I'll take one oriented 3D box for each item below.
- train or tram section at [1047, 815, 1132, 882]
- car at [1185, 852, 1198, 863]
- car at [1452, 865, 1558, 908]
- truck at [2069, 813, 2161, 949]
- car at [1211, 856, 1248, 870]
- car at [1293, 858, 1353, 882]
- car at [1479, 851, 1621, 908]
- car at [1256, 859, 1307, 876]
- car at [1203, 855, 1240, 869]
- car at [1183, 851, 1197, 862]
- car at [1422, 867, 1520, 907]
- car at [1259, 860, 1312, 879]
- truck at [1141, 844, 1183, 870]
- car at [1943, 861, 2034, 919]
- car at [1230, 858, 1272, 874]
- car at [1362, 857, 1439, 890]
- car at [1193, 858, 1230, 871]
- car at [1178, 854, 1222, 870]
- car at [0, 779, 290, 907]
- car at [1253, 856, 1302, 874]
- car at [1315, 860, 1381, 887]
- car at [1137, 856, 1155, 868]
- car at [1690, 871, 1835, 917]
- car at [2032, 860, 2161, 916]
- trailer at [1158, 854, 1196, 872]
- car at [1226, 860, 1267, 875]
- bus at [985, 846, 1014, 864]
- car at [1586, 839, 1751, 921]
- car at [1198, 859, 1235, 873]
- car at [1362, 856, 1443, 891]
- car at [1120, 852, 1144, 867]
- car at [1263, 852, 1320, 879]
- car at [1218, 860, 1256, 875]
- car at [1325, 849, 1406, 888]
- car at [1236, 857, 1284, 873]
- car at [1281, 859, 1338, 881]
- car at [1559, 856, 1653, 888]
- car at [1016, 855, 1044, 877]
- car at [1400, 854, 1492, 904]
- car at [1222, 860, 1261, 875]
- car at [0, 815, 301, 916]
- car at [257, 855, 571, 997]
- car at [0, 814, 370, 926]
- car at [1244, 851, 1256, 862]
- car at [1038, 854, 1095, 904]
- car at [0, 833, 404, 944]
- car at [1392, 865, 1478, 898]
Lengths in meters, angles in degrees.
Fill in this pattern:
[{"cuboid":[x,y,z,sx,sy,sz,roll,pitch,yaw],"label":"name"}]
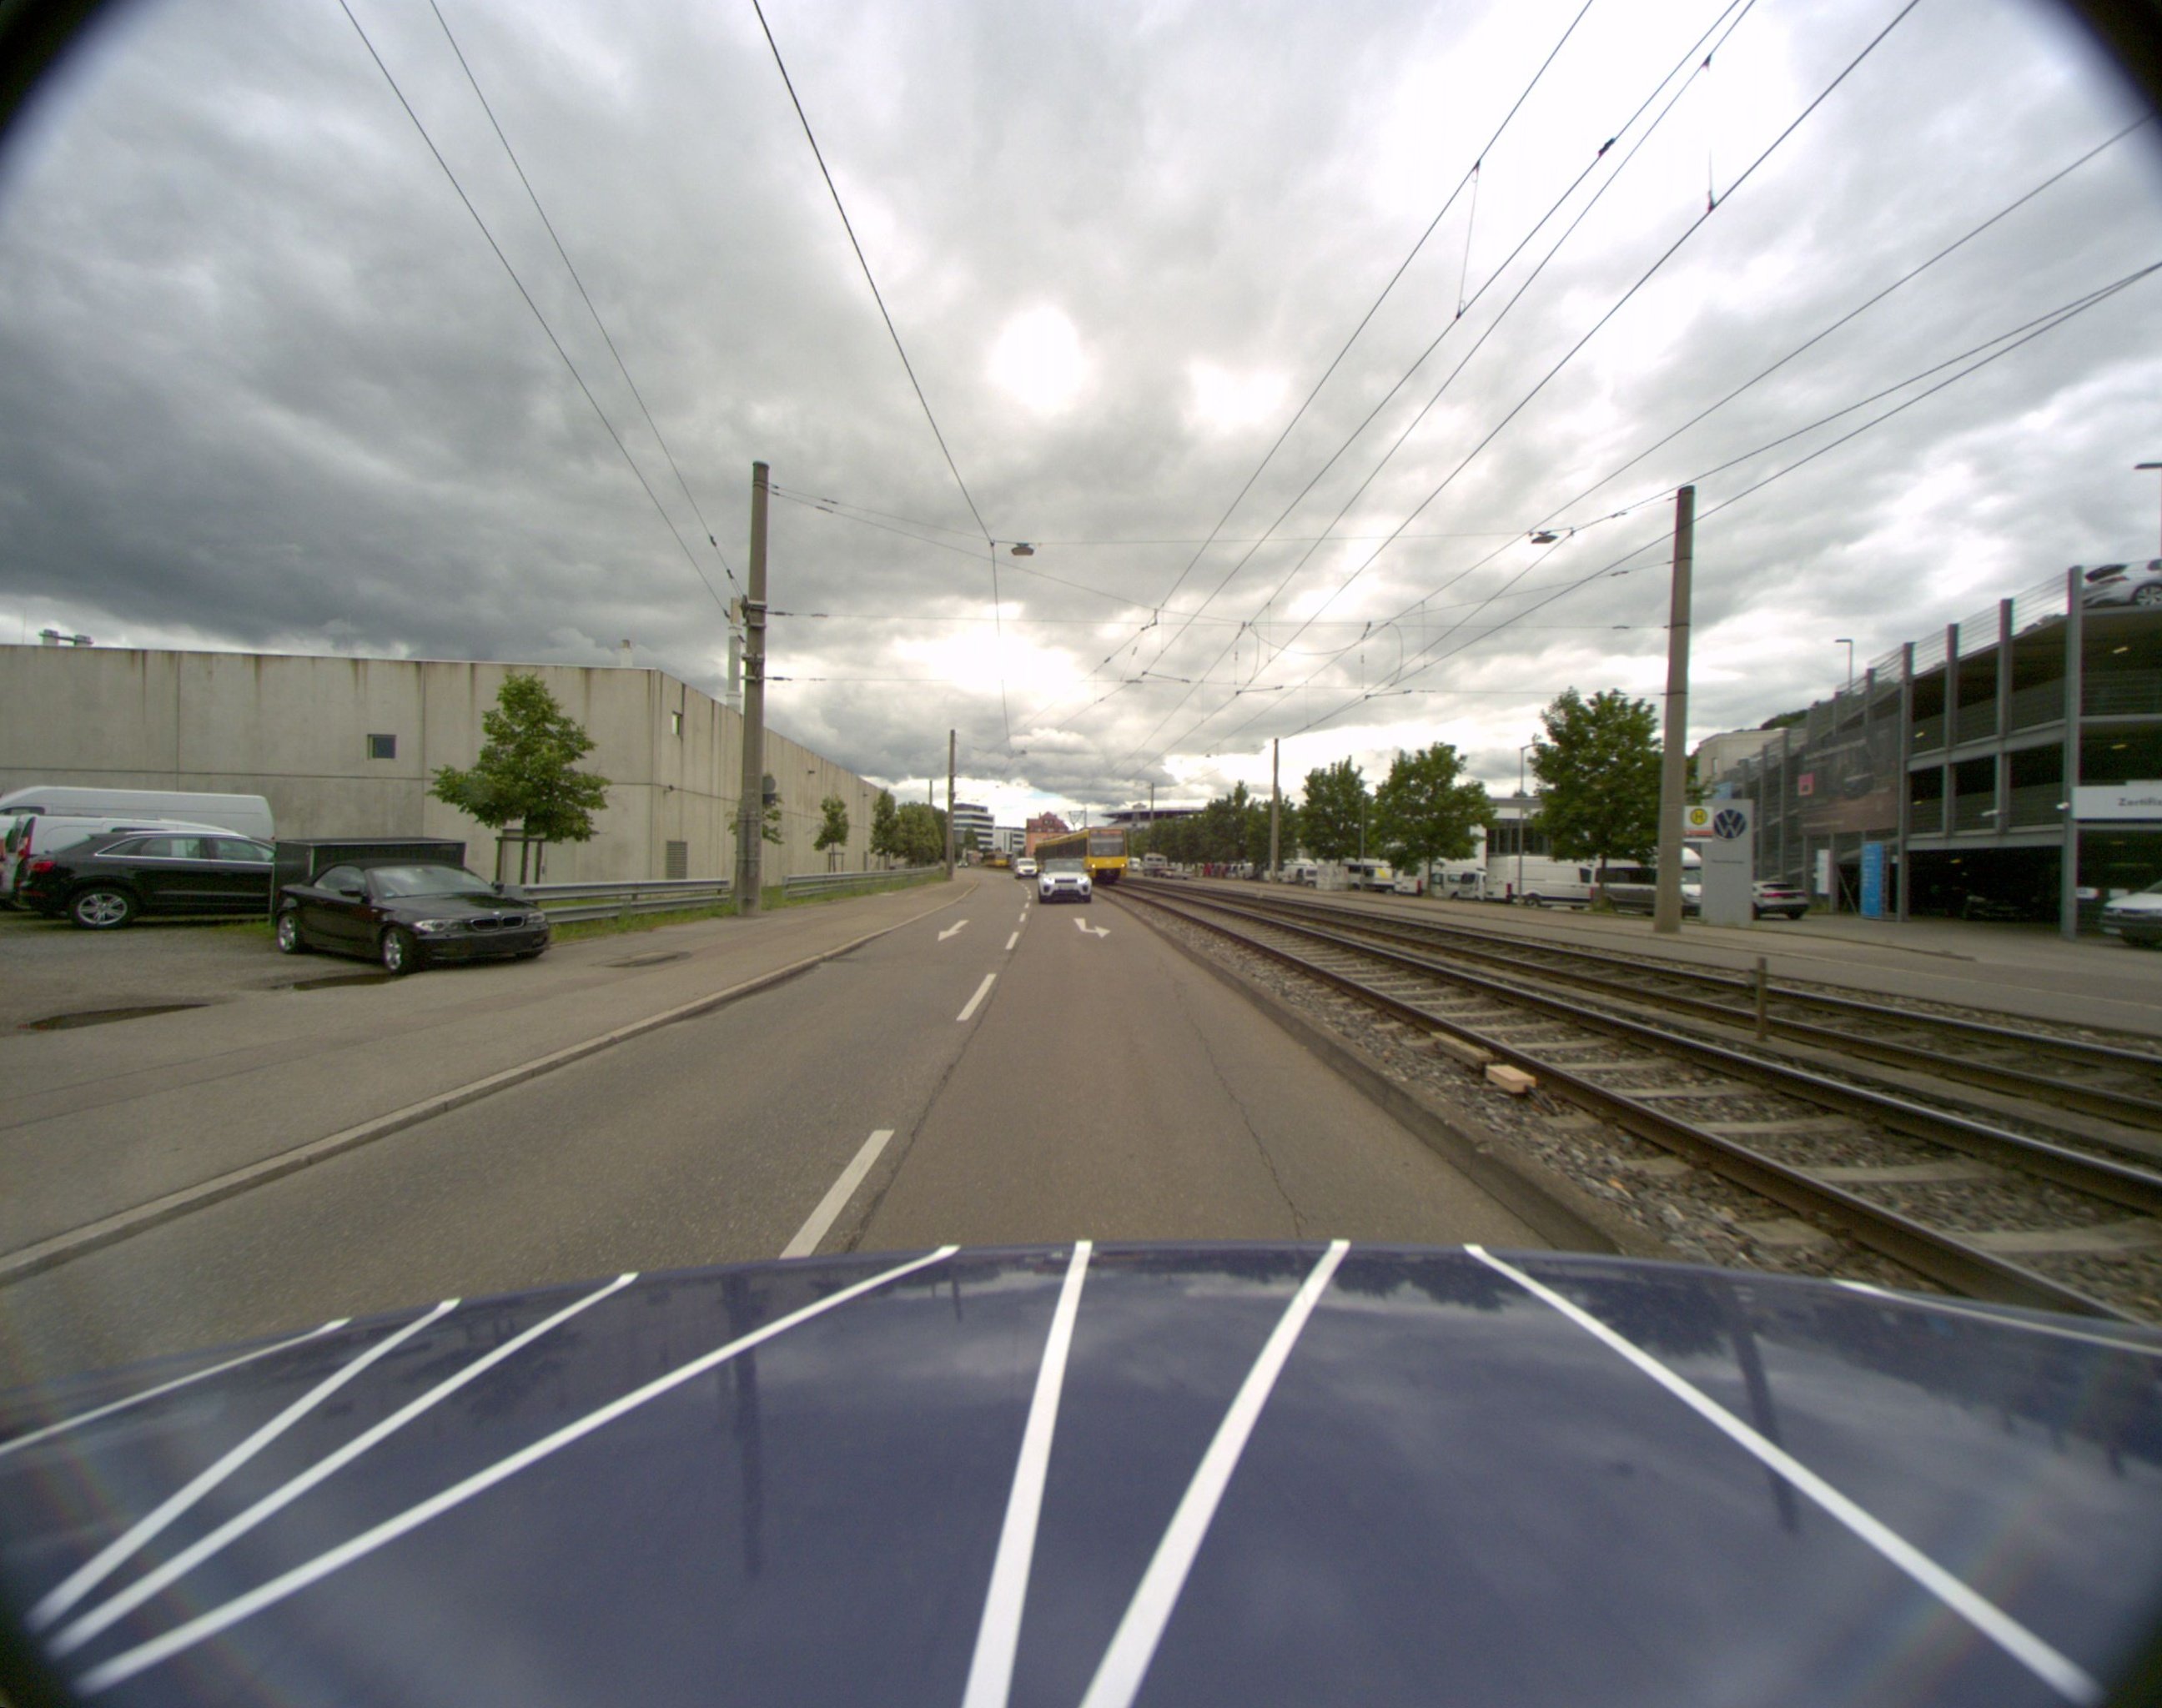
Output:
[{"cuboid":[0.147,-0.412,53.993,3.399,3.984,16.929,-1,1,-8],"label":"train or tram section"},{"cuboid":[21.468,0.650,147.726,1.996,2.002,4.006,1,0,17],"label":"car"},{"cuboid":[21.805,1.647,39.166,4.379,2.093,2.003,1,0,-7],"label":"car"},{"cuboid":[27.171,0.664,16.931,5.923,3.067,2.124,1,0,26],"label":"truck"},{"cuboid":[17.795,1.054,91.036,3.997,1.654,2.047,1,0,-2],"label":"car"},{"cuboid":[20.292,1.299,63.854,4.377,1.936,2.004,1,0,-2],"label":"car"},{"cuboid":[22.399,1.181,36.454,5.488,2.587,2.246,1,0,-3],"label":"car"},{"cuboid":[19.451,1.293,73.829,4.377,1.608,2.004,1,0,-2],"label":"car"},{"cuboid":[17.332,1.009,93.696,4.189,1.608,2.062,1,0,-2],"label":"car"},{"cuboid":[21.346,0.517,148.692,1.996,2.002,4.005,1,0,17],"label":"car"},{"cuboid":[21.343,1.792,41.668,4.379,2.093,2.003,1,0,-7],"label":"car"},{"cuboid":[19.222,1.429,71.472,4.379,1.679,2.030,1,0,-6],"label":"car"},{"cuboid":[8.965,0.345,85.609,2.765,2.725,9.214,3,0,-6],"label":"truck"},{"cuboid":[32.763,1.254,27.490,4.009,1.892,1.994,1,0,-40],"label":"car"},{"cuboid":[18.149,1.265,81.327,3.997,1.608,2.000,1,0,-2],"label":"car"},{"cuboid":[21.720,1.336,51.723,4.379,2.160,2.003,1,0,-7],"label":"car"},{"cuboid":[17.099,1.409,99.582,4.348,1.608,2.154,1,0,-2],"label":"car"},{"cuboid":[16.503,1.093,105.119,5.703,1.996,2.146,1,0,15],"label":"car"},{"cuboid":[-21.852,-0.210,16.988,2.090,2.574,5.435,1,0,31],"label":"car"},{"cuboid":[19.649,1.103,76.090,4.377,1.676,2.004,1,0,-2],"label":"car"},{"cuboid":[20.443,1.476,58.280,4.379,1.998,2.003,1,0,-7],"label":"car"},{"cuboid":[11.141,1.400,130.814,2.000,2.002,4.803,1,0,-10],"label":"car"},{"cuboid":[26.903,1.529,30.208,1.999,1.608,4.135,1,0,-1],"label":"car"},{"cuboid":[38.061,1.201,27.294,2.000,1.892,4.462,1,0,-6],"label":"car"},{"cuboid":[9.712,0.867,77.522,2.390,1.688,6.944,3,0,-5],"label":"trailer"},{"cuboid":[18.255,1.509,83.925,3.997,1.608,2.000,1,0,-2],"label":"car"},{"cuboid":[-19.226,0.117,178.685,3.566,3.930,10.470,-1,1,-24],"label":"bus"},{"cuboid":[23.868,0.989,31.284,2.113,3.001,5.936,1,0,-1],"label":"car"},{"cuboid":[17.321,1.527,97.084,4.357,1.608,2.119,1,0,-2],"label":"car"},{"cuboid":[20.758,1.260,49.102,4.379,2.160,2.003,1,0,-7],"label":"car"},{"cuboid":[9.181,1.002,136.433,2.002,2.546,5.852,1,0,-21],"label":"car"},{"cuboid":[18.954,1.013,68.455,4.508,2.298,2.125,1,0,-2],"label":"car"},{"cuboid":[18.128,1.582,88.533,3.997,1.608,2.000,1,0,-2],"label":"car"},{"cuboid":[20.371,1.014,54.522,4.981,2.682,2.114,1,0,-7],"label":"car"},{"cuboid":[18.452,1.154,78.377,4.378,1.608,2.003,1,0,-4],"label":"car"},{"cuboid":[19.853,1.357,66.106,4.377,1.834,2.004,1,0,-2],"label":"car"},{"cuboid":[34.723,1.172,50.313,4.856,2.002,2.000,1,0,-1],"label":"car"},{"cuboid":[-4.588,1.077,67.744,2.000,1.881,4.623,1,0,-9],"label":"car"},{"cuboid":[21.076,1.411,44.020,4.379,2.802,2.003,1,0,-7],"label":"car"},{"cuboid":[18.229,1.511,86.417,3.997,1.608,2.000,1,0,-2],"label":"car"},{"cuboid":[-19.461,0.212,15.634,1.813,1.821,4.450,1,0,30],"label":"car"},{"cuboid":[-9.512,0.875,10.813,4.222,1.435,1.766,4,1,25],"label":"car"},{"cuboid":[-17.227,0.282,14.801,1.855,1.821,4.551,1,0,30],"label":"car"},{"cuboid":[32.511,0.489,145.998,1.996,2.002,4.005,1,0,17],"label":"car"},{"cuboid":[-0.573,0.889,28.727,1.999,1.717,3.999,-1,0,-2],"label":"car"},{"cuboid":[-14.990,0.507,13.192,2.154,1.539,4.531,3,1,40],"label":"car"},{"cuboid":[21.673,1.689,46.630,4.379,1.899,2.003,1,0,-7],"label":"car"}]
